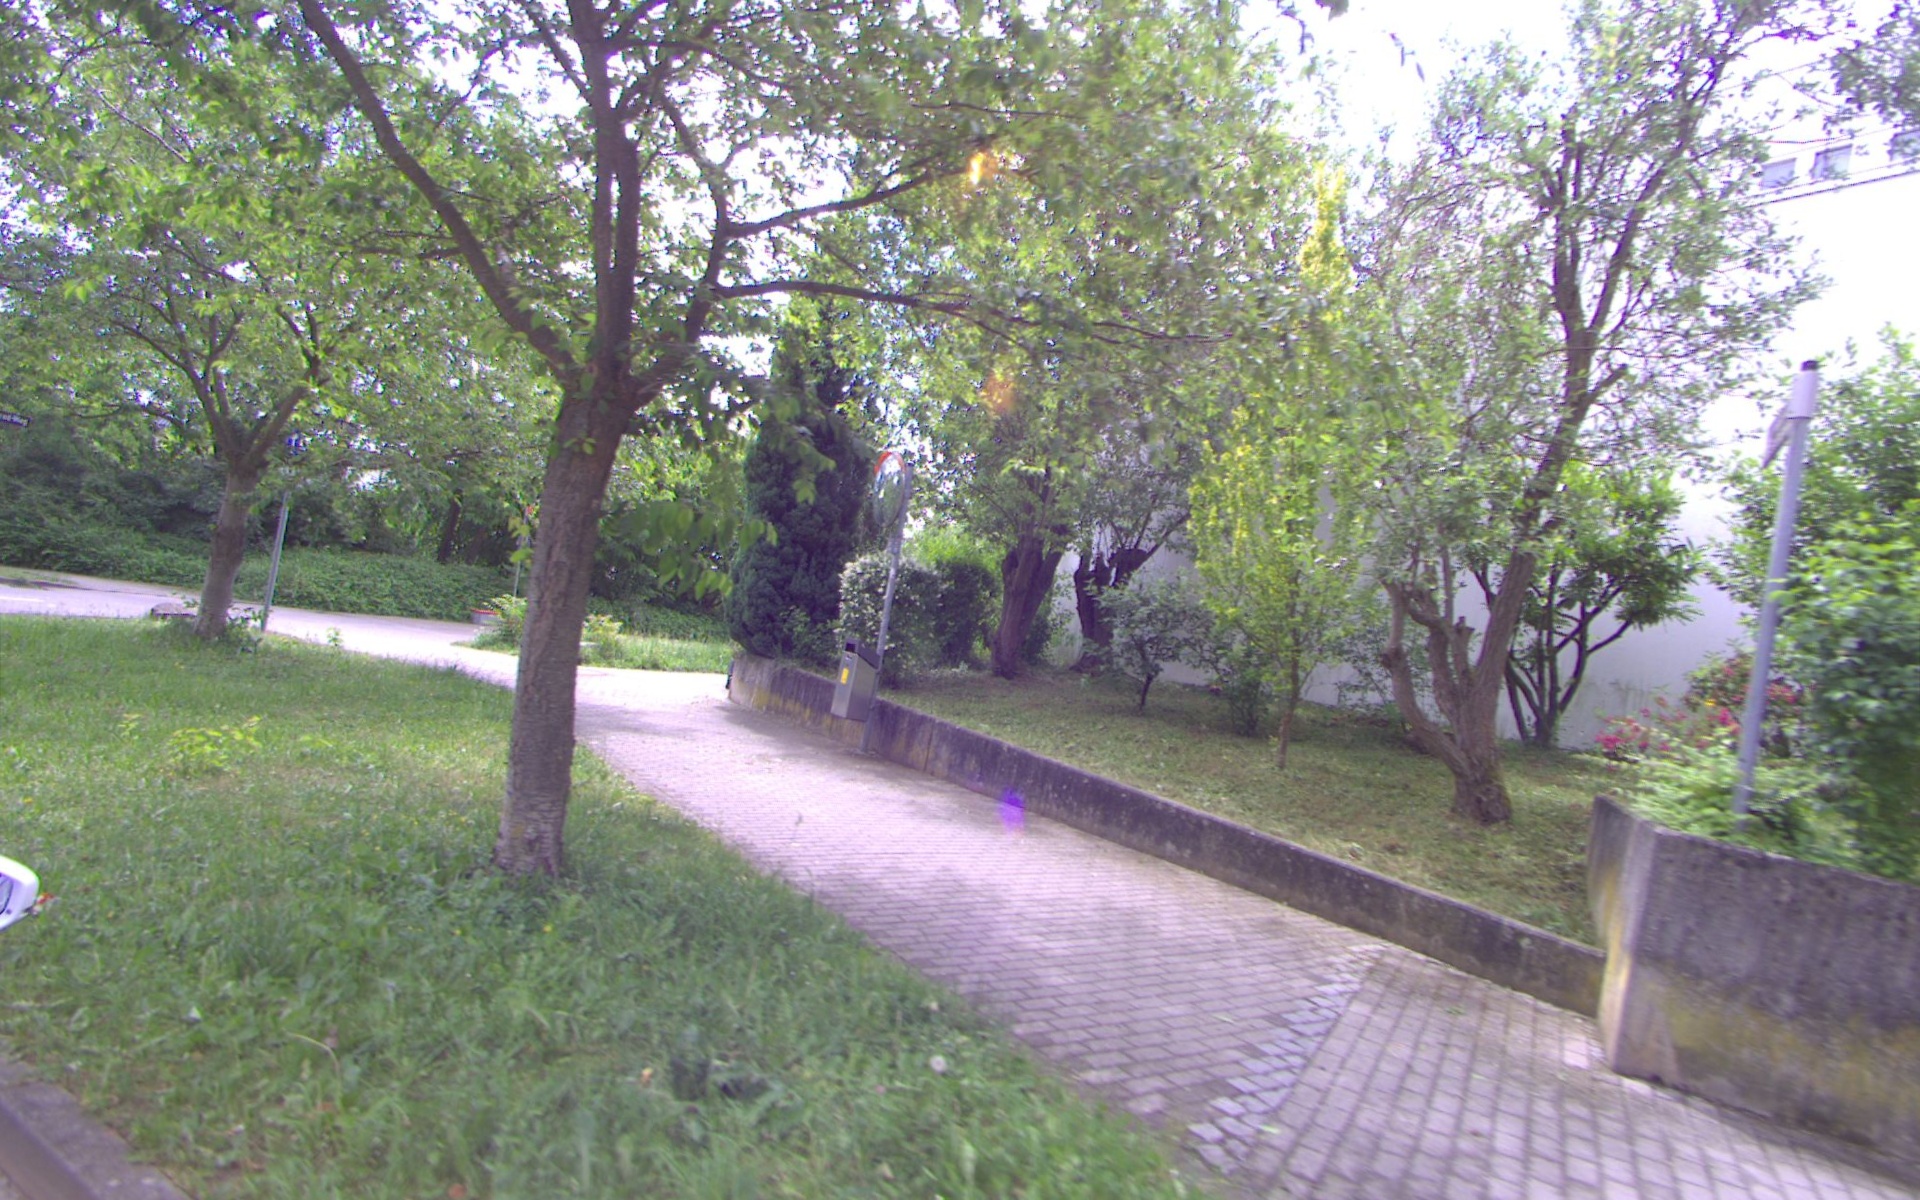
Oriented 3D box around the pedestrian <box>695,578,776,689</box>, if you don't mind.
[{"bbox_3d":[-3.813,0.582,17.122,0.772,1.757,0.834,7,-1,29],"label":"pedestrian"}]
